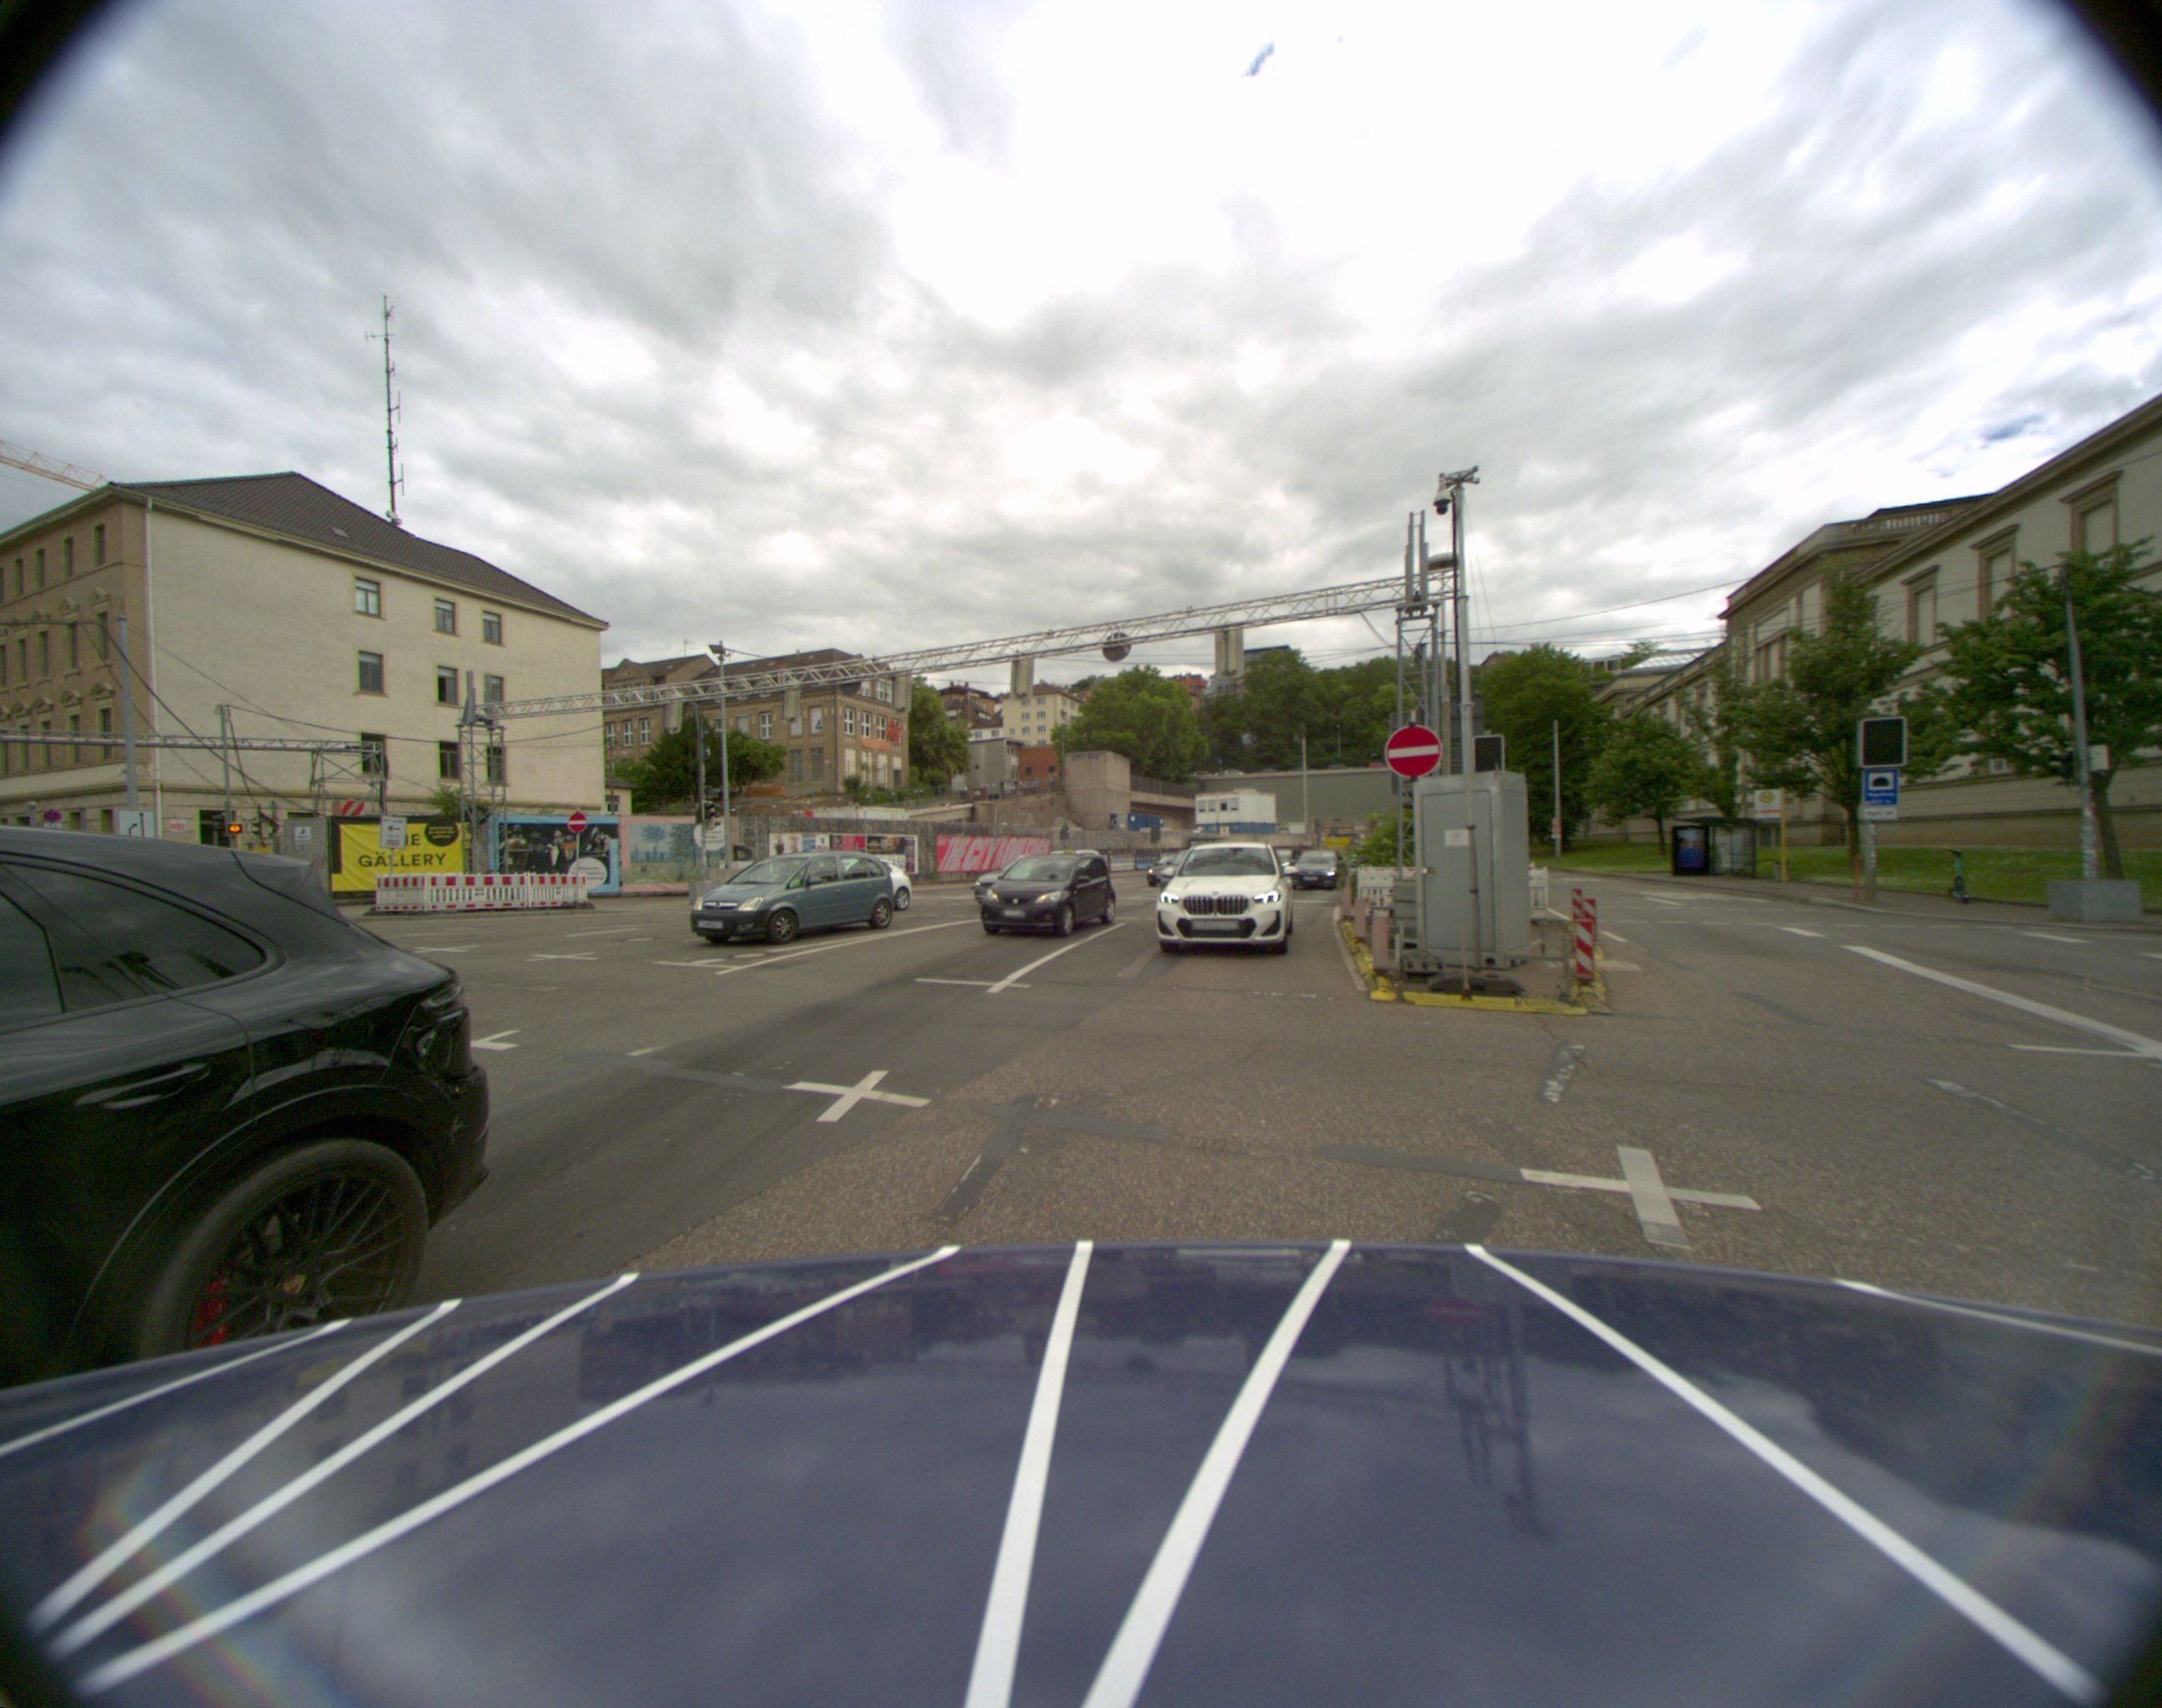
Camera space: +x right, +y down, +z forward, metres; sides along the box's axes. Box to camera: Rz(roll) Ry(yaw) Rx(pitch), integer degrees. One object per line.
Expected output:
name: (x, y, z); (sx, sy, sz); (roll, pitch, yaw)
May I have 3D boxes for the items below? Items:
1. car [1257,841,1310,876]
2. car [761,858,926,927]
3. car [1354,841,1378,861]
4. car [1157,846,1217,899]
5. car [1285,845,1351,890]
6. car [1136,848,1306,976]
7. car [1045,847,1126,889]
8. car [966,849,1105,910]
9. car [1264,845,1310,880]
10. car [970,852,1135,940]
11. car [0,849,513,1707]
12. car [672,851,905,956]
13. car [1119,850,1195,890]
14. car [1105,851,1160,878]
car: (9.849, 0.192, 36.790); (1.688, 1.565, 4.001); (0, 1, 27)
car: (-5.854, 0.901, 19.311); (1.688, 1.408, 4.092); (-1, 1, 23)
car: (23.477, -0.267, 62.541); (1.565, 1.565, 3.295); (0, 1, 27)
car: (3.492, 0.539, 24.583); (1.690, 1.565, 3.716); (0, 1, 11)
car: (9.045, 0.471, 28.752); (1.995, 1.543, 4.006); (0, 1, 23)
car: (2.274, 0.706, 11.497); (1.809, 1.596, 3.718); (0, 1, 22)
car: (0.257, 0.544, 31.885); (1.688, 1.565, 4.078); (-2, 0, 27)
car: (-1.175, 0.645, 22.109); (1.906, 1.569, 4.691); (0, 1, 27)
car: (9.767, 0.353, 36.120); (1.996, 1.543, 4.004); (0, 1, 14)
car: (-0.376, 0.704, 15.220); (1.730, 1.461, 4.425); (0, 0, 20)
car: (-3.074, 0.875, 0.397); (1.955, 1.638, 4.607); (-1, 2, 2)
car: (-5.237, 0.784, 14.196); (1.688, 1.565, 3.960); (0, 2, 24)
car: (3.330, 0.614, 32.352); (1.807, 1.569, 4.446); (0, 1, 26)
car: (3.241, 0.595, 46.880); (1.807, 1.569, 4.447); (0, 1, 27)
